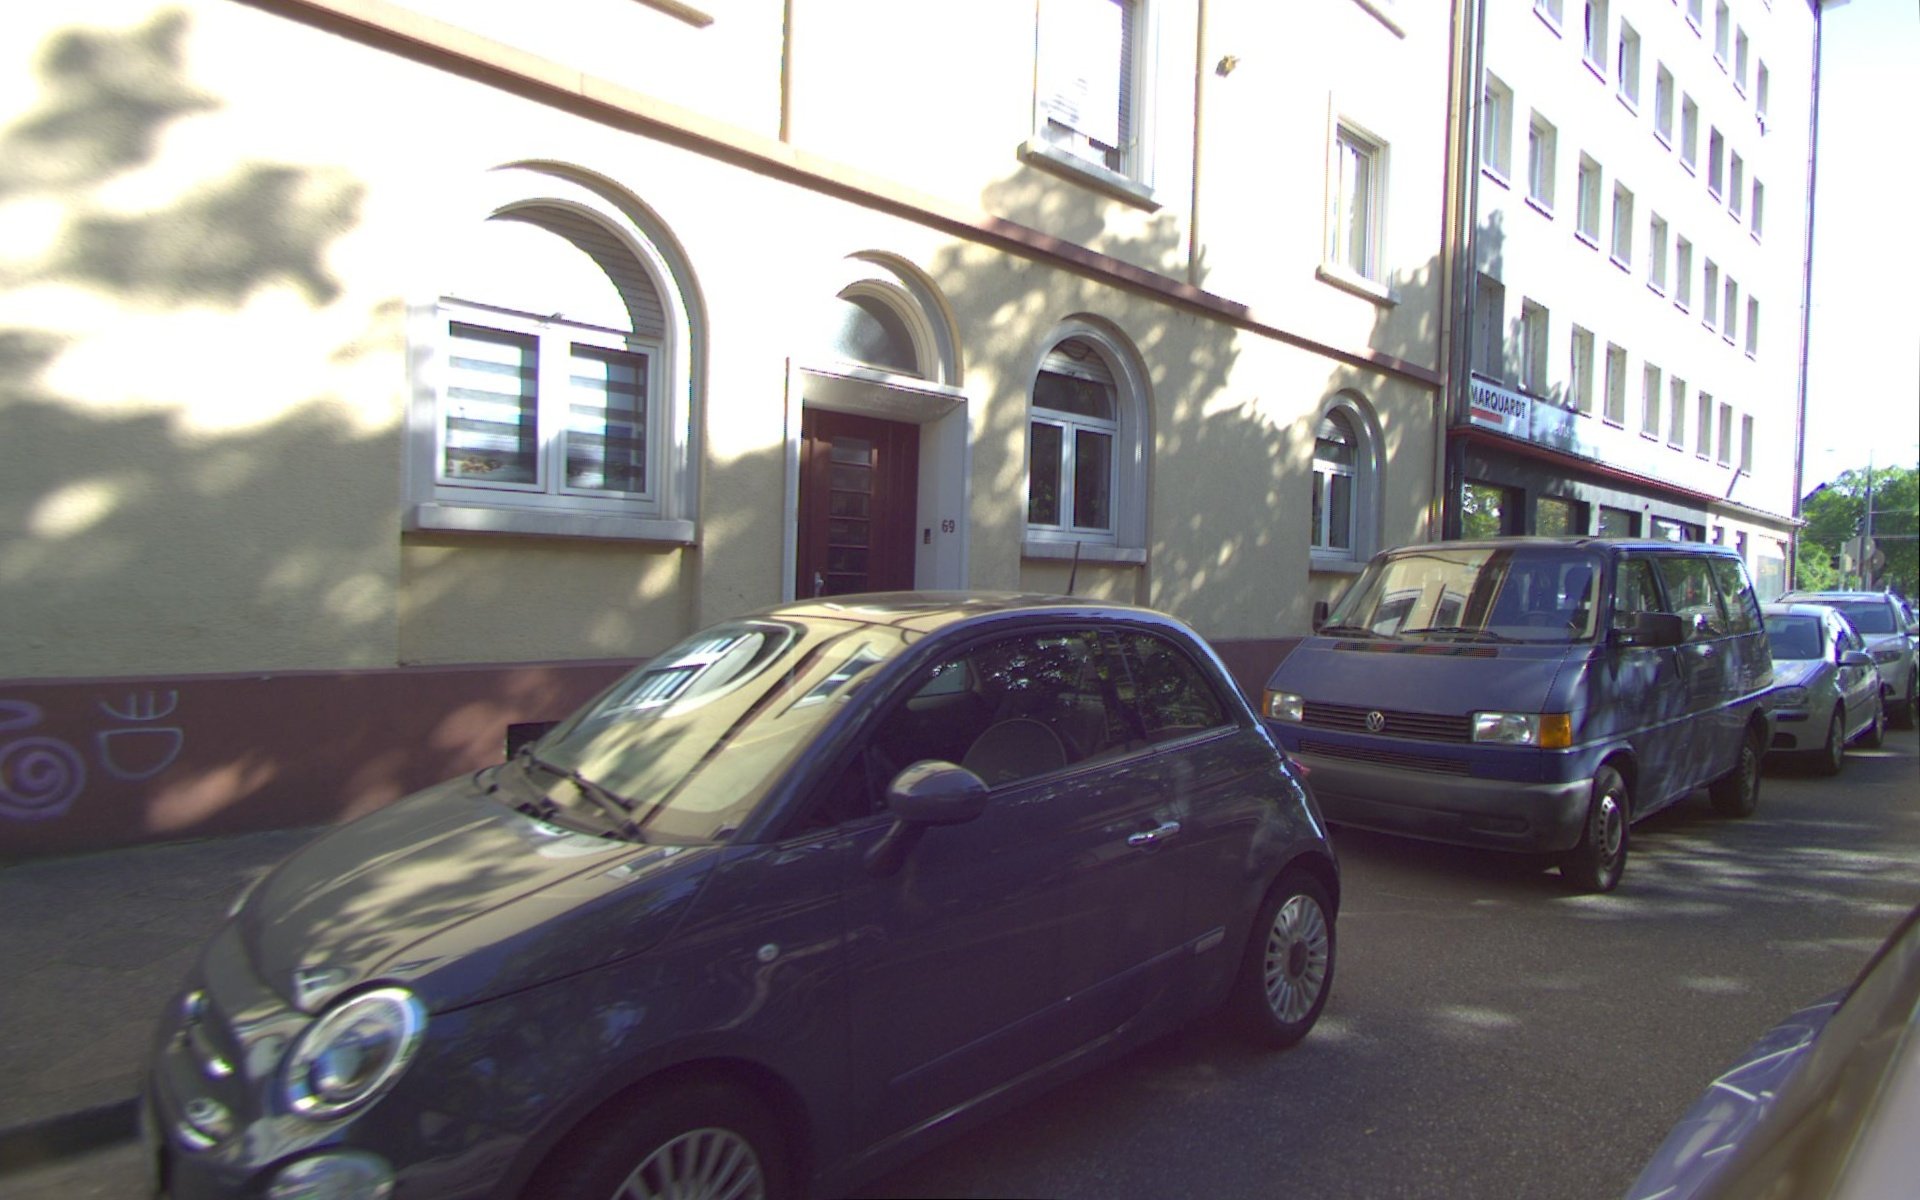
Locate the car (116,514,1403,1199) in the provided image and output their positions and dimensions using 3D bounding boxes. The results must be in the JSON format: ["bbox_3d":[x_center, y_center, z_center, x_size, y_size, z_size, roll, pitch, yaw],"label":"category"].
[{"bbox_3d":[-0.237,0.619,3.102,3.534,1.517,1.624,0,2,-43],"label":"car"}]

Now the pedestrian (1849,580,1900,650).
[{"bbox_3d":[23.495,0.376,25.994,0.731,1.743,0.762,1,1,-34],"label":"pedestrian"}]

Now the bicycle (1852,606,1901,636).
[{"bbox_3d":[33.470,0.755,36.982,0.822,0.998,1.928,3,2,27],"label":"bicycle"}]

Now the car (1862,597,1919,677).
[{"bbox_3d":[19.435,0.719,20.205,3.607,1.481,1.600,0,2,-40],"label":"car"}]

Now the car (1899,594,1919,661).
[{"bbox_3d":[23.888,0.670,24.077,3.951,1.516,1.723,1,2,-40],"label":"car"}]

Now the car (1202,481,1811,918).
[{"bbox_3d":[3.880,0.410,6.749,4.760,1.924,1.953,0,2,-41],"label":"car"}]

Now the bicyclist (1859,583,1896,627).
[{"bbox_3d":[33.476,0.176,36.928,0.820,1.583,0.590,3,2,28],"label":"bicyclist"}]

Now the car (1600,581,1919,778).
[{"bbox_3d":[8.095,0.630,10.095,4.164,1.519,1.765,0,2,-41],"label":"car"}]

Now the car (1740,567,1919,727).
[{"bbox_3d":[11.993,0.523,13.482,4.433,1.775,1.765,0,2,-43],"label":"car"}]

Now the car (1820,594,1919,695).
[{"bbox_3d":[15.969,0.690,17.114,1.803,1.481,4.368,3,2,45],"label":"car"}]

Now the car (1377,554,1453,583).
[{"bbox_3d":[26.285,-1.822,58.482,4.397,1.473,1.876,1,2,-33],"label":"car"}]
